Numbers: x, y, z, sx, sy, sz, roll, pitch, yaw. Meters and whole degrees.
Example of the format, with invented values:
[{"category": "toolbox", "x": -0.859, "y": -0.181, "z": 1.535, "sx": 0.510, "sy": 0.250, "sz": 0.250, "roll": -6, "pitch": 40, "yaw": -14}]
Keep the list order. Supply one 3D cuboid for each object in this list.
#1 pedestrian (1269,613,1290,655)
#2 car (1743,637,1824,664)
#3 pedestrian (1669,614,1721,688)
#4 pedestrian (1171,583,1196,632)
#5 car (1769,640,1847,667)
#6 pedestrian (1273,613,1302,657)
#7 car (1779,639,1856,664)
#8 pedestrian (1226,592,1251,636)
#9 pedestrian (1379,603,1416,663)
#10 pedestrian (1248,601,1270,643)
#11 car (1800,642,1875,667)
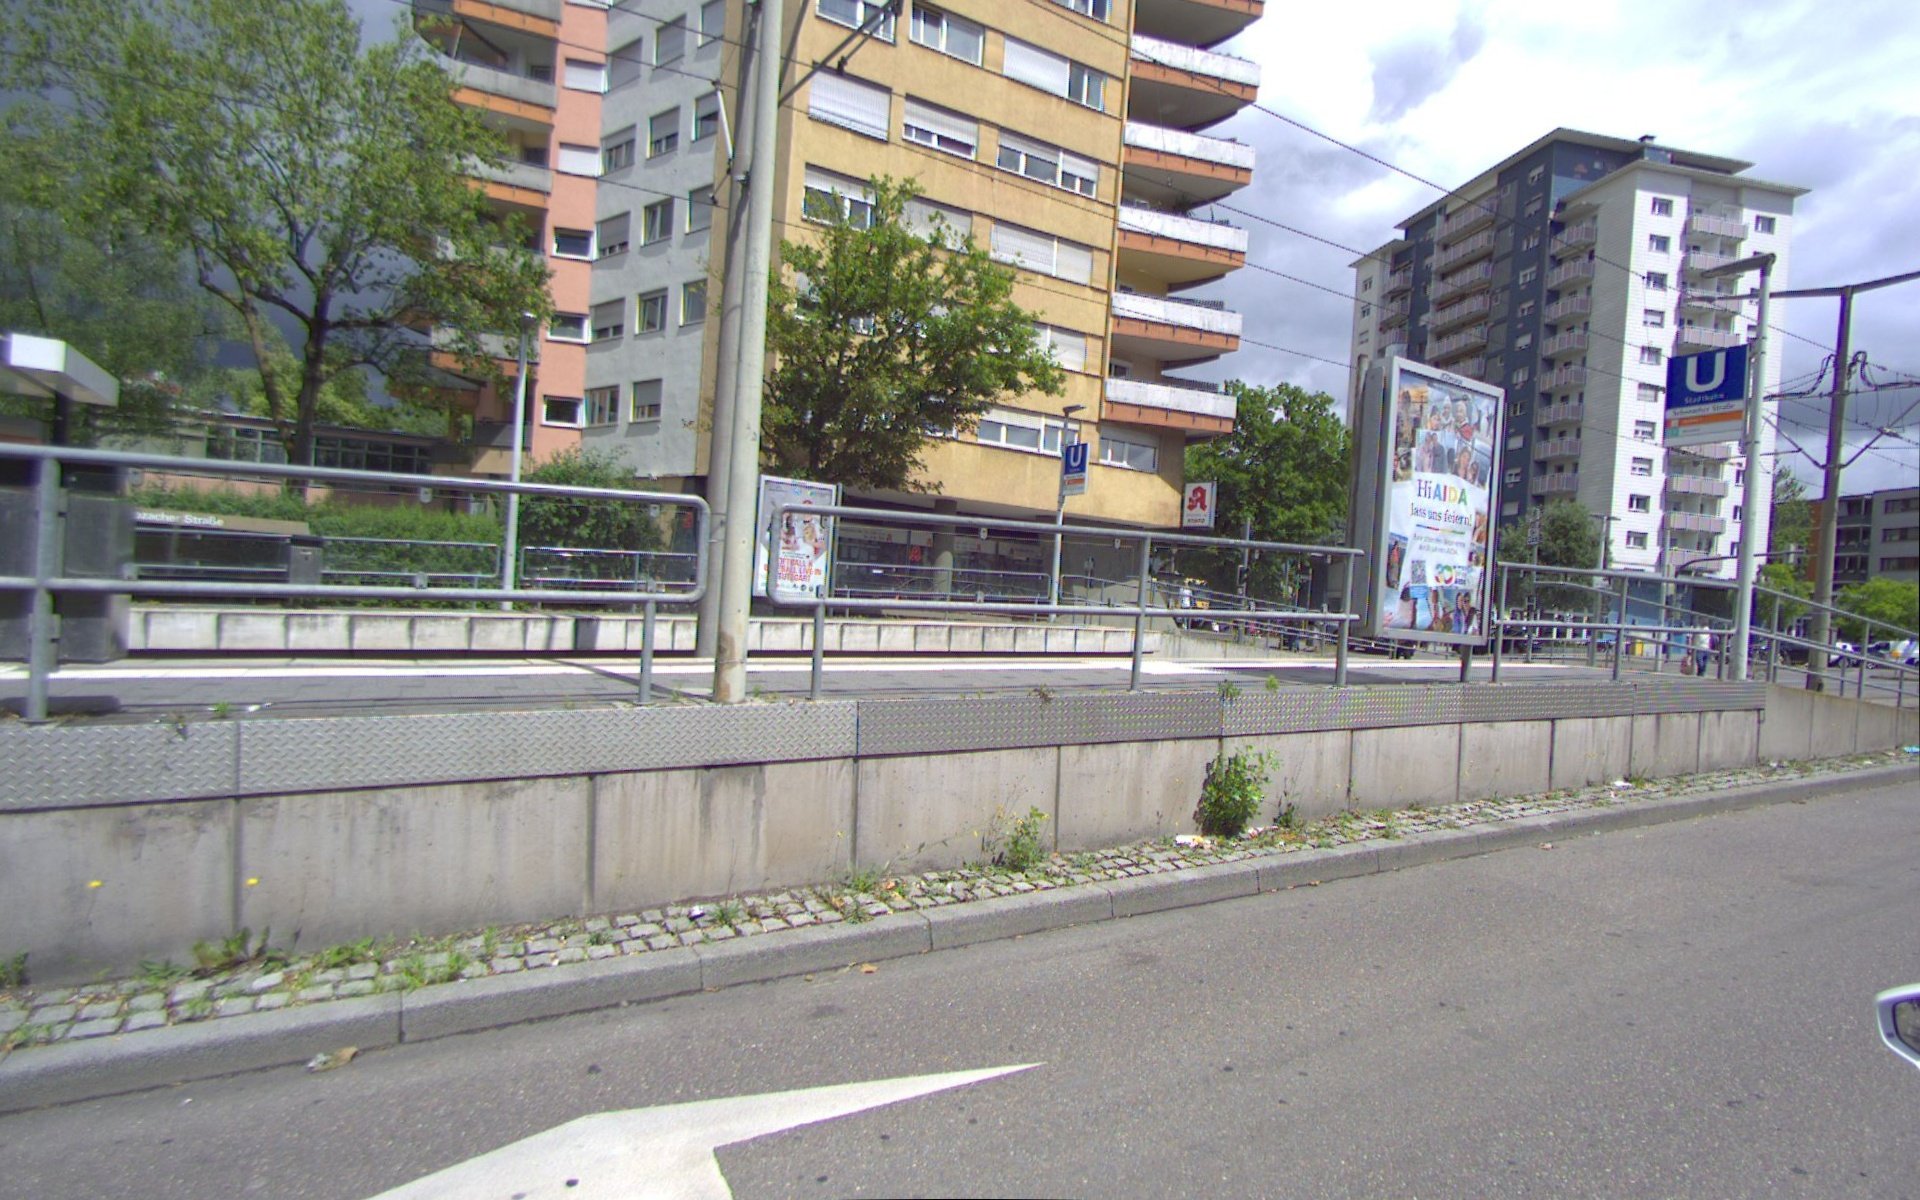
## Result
[{"category": "pedestrian", "x": 10.545, "y": 1.112, "z": 33.142, "sx": 0.543, "sy": 1.360, "sz": 0.669, "roll": 2, "pitch": 0, "yaw": 12}, {"category": "car", "x": 50.567, "y": 3.080, "z": 61.727, "sx": 1.602, "sy": 1.482, "sz": 3.576, "roll": 2, "pitch": -1, "yaw": -37}, {"category": "pedestrian", "x": 17.746, "y": 1.223, "z": 24.278, "sx": 0.675, "sy": 1.719, "sz": 0.861, "roll": 2, "pitch": 0, "yaw": 12}, {"category": "pedestrian", "x": 8.157, "y": 0.275, "z": 36.730, "sx": 0.668, "sy": 1.729, "sz": 0.827, "roll": 2, "pitch": 0, "yaw": -1}, {"category": "car", "x": 54.157, "y": 3.397, "z": 64.194, "sx": 1.602, "sy": 1.482, "sz": 3.576, "roll": 2, "pitch": -1, "yaw": -37}, {"category": "pedestrian", "x": 10.420, "y": 1.104, "z": 31.960, "sx": 0.677, "sy": 1.360, "sz": 0.859, "roll": 2, "pitch": 0, "yaw": 30}, {"category": "car", "x": 56.608, "y": 3.385, "z": 66.339, "sx": 1.602, "sy": 1.482, "sz": 3.576, "roll": 3, "pitch": -1, "yaw": -37}, {"category": "pedestrian", "x": 10.476, "y": 0.532, "z": 37.768, "sx": 0.613, "sy": 1.599, "sz": 0.858, "roll": 2, "pitch": 0, "yaw": 33}, {"category": "pedestrian", "x": 12.285, "y": 0.913, "z": 28.221, "sx": 0.631, "sy": 1.654, "sz": 0.697, "roll": 2, "pitch": -1, "yaw": -31}, {"category": "pedestrian", "x": 11.678, "y": 0.843, "z": 39.223, "sx": 0.759, "sy": 1.604, "sz": 0.610, "roll": 2, "pitch": 0, "yaw": 14}, {"category": "car", "x": 59.714, "y": 3.696, "z": 68.386, "sx": 1.602, "sy": 1.482, "sz": 3.576, "roll": 2, "pitch": -1, "yaw": -37}]
